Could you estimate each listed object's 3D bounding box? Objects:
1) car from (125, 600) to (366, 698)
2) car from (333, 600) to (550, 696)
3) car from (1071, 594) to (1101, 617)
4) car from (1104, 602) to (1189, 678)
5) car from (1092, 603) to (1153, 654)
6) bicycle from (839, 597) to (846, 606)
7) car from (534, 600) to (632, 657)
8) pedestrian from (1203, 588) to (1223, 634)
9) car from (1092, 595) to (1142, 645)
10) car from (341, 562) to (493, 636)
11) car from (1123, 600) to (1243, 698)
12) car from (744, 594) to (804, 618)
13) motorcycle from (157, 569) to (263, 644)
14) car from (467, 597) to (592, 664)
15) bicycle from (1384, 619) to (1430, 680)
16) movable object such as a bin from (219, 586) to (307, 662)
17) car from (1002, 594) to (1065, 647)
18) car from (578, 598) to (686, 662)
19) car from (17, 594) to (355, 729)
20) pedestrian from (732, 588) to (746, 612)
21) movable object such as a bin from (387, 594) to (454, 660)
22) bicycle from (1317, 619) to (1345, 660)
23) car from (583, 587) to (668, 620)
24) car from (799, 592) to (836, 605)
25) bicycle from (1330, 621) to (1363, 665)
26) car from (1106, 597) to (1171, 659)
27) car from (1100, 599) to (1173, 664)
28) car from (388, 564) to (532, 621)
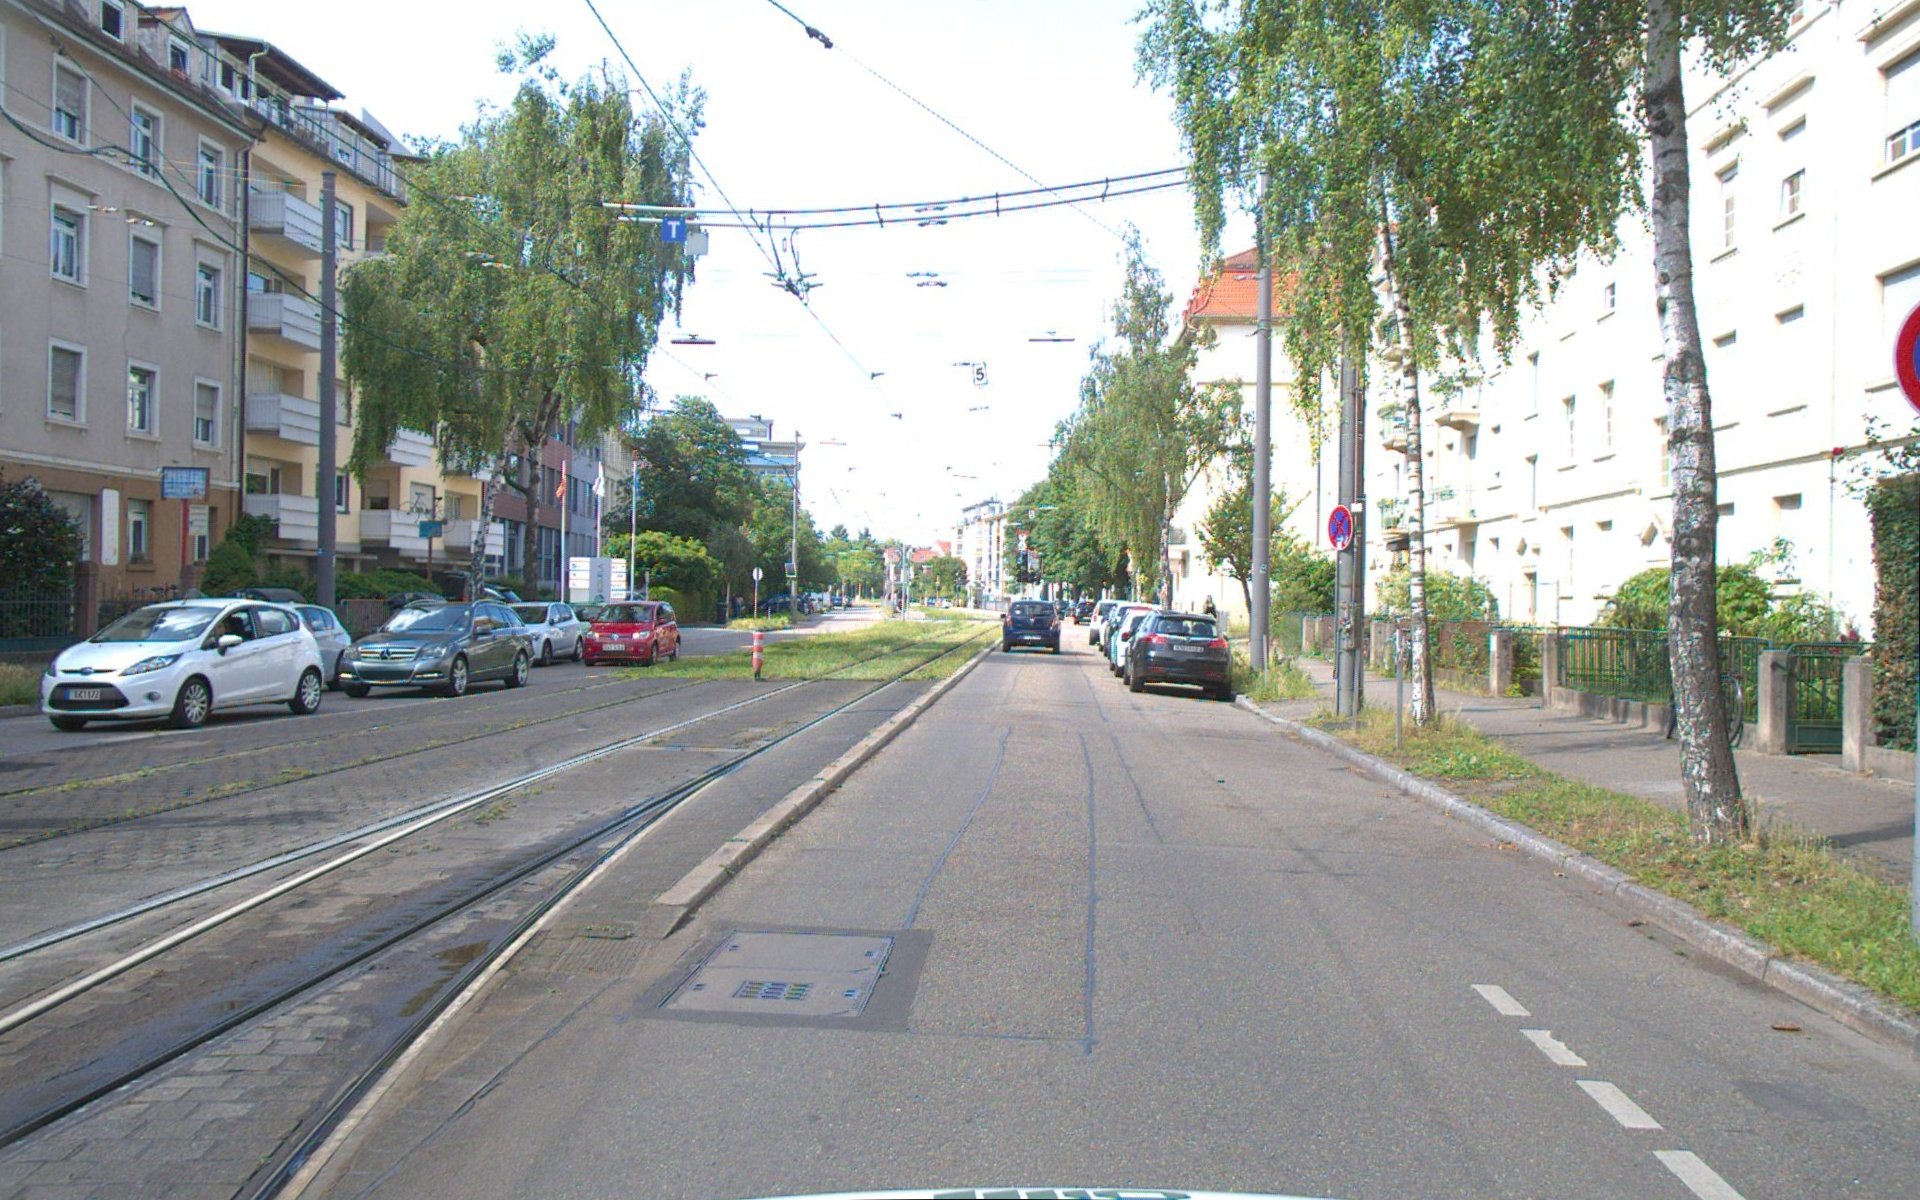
[{"bbox_3d":[-10.887,0.692,25.532,1.718,1.380,3.997,0,0,5],"label":"car"},{"bbox_3d":[-8.180,0.715,26.545,1.718,1.380,4.515,-1,0,5],"label":"car"},{"bbox_3d":[8.021,0.336,105.286,1.665,1.391,3.515,3,0,2],"label":"car"},{"bbox_3d":[4.147,0.857,37.274,1.586,1.477,3.920,4,0,3],"label":"car"},{"bbox_3d":[5.119,0.884,52.378,1.638,1.441,3.796,4,0,3],"label":"car"},{"bbox_3d":[-13.341,0.194,187.813,0.666,0.988,2.179,0,0,1],"label":"bicycle"},{"bbox_3d":[-10.040,0.720,44.272,1.560,1.457,3.616,0,0,4],"label":"car"},{"bbox_3d":[9.509,0.416,62.219,0.714,1.712,0.691,-1,0,7],"label":"pedestrian"},{"bbox_3d":[5.746,0.701,60.320,1.685,1.658,4.003,3,0,6],"label":"car"},{"bbox_3d":[-16.724,-0.023,51.018,3.903,2.048,1.938,3,0,7],"label":"car"},{"bbox_3d":[4.057,0.842,30.717,1.755,1.547,4.528,4,0,3],"label":"car"},{"bbox_3d":[-13.396,0.430,119.284,4.097,1.669,1.699,1,0,-42],"label":"car"},{"bbox_3d":[-13.216,0.109,29.225,0.882,1.264,2.293,1,0,-2],"label":"motorcycle"},{"bbox_3d":[-10.124,0.673,39.203,1.610,1.503,4.228,0,0,4],"label":"car"},{"bbox_3d":[8.529,0.925,31.635,0.461,1.096,2.184,0,0,5],"label":"bicycle"},{"bbox_3d":[-13.460,0.456,31.970,0.931,1.391,1.522,3,0,3],"label":"movable object such as a bin"},{"bbox_3d":[2.203,0.583,48.837,1.730,1.487,3.777,0,0,4],"label":"car"},{"bbox_3d":[-7.583,0.671,38.506,1.545,1.411,3.694,0,0,4],"label":"car"},{"bbox_3d":[-9.137,0.682,19.941,1.717,1.439,4.137,-1,0,8],"label":"car"},{"bbox_3d":[-14.910,-0.011,111.584,0.729,1.601,0.890,1,-2,6],"label":"pedestrian"},{"bbox_3d":[-12.557,0.611,38.534,0.931,1.454,1.522,3,0,3],"label":"movable object such as a bin"},{"bbox_3d":[8.944,0.947,39.915,0.379,0.955,1.586,1,0,3],"label":"bicycle"},{"bbox_3d":[-17.120,0.182,84.756,3.905,1.624,2.000,1,0,0],"label":"car"},{"bbox_3d":[-16.257,-0.170,189.289,3.957,1.472,1.705,1,0,-37],"label":"car"},{"bbox_3d":[8.852,0.976,37.963,0.370,0.960,2.010,1,0,3],"label":"bicycle"},{"bbox_3d":[5.035,0.750,47.003,1.462,1.606,3.760,3,0,2],"label":"car"},{"bbox_3d":[4.493,0.775,42.473,1.556,1.477,3.846,4,0,3],"label":"car"},{"bbox_3d":[-16.021,-0.235,53.141,3.904,1.630,1.974,3,0,3],"label":"car"}]
